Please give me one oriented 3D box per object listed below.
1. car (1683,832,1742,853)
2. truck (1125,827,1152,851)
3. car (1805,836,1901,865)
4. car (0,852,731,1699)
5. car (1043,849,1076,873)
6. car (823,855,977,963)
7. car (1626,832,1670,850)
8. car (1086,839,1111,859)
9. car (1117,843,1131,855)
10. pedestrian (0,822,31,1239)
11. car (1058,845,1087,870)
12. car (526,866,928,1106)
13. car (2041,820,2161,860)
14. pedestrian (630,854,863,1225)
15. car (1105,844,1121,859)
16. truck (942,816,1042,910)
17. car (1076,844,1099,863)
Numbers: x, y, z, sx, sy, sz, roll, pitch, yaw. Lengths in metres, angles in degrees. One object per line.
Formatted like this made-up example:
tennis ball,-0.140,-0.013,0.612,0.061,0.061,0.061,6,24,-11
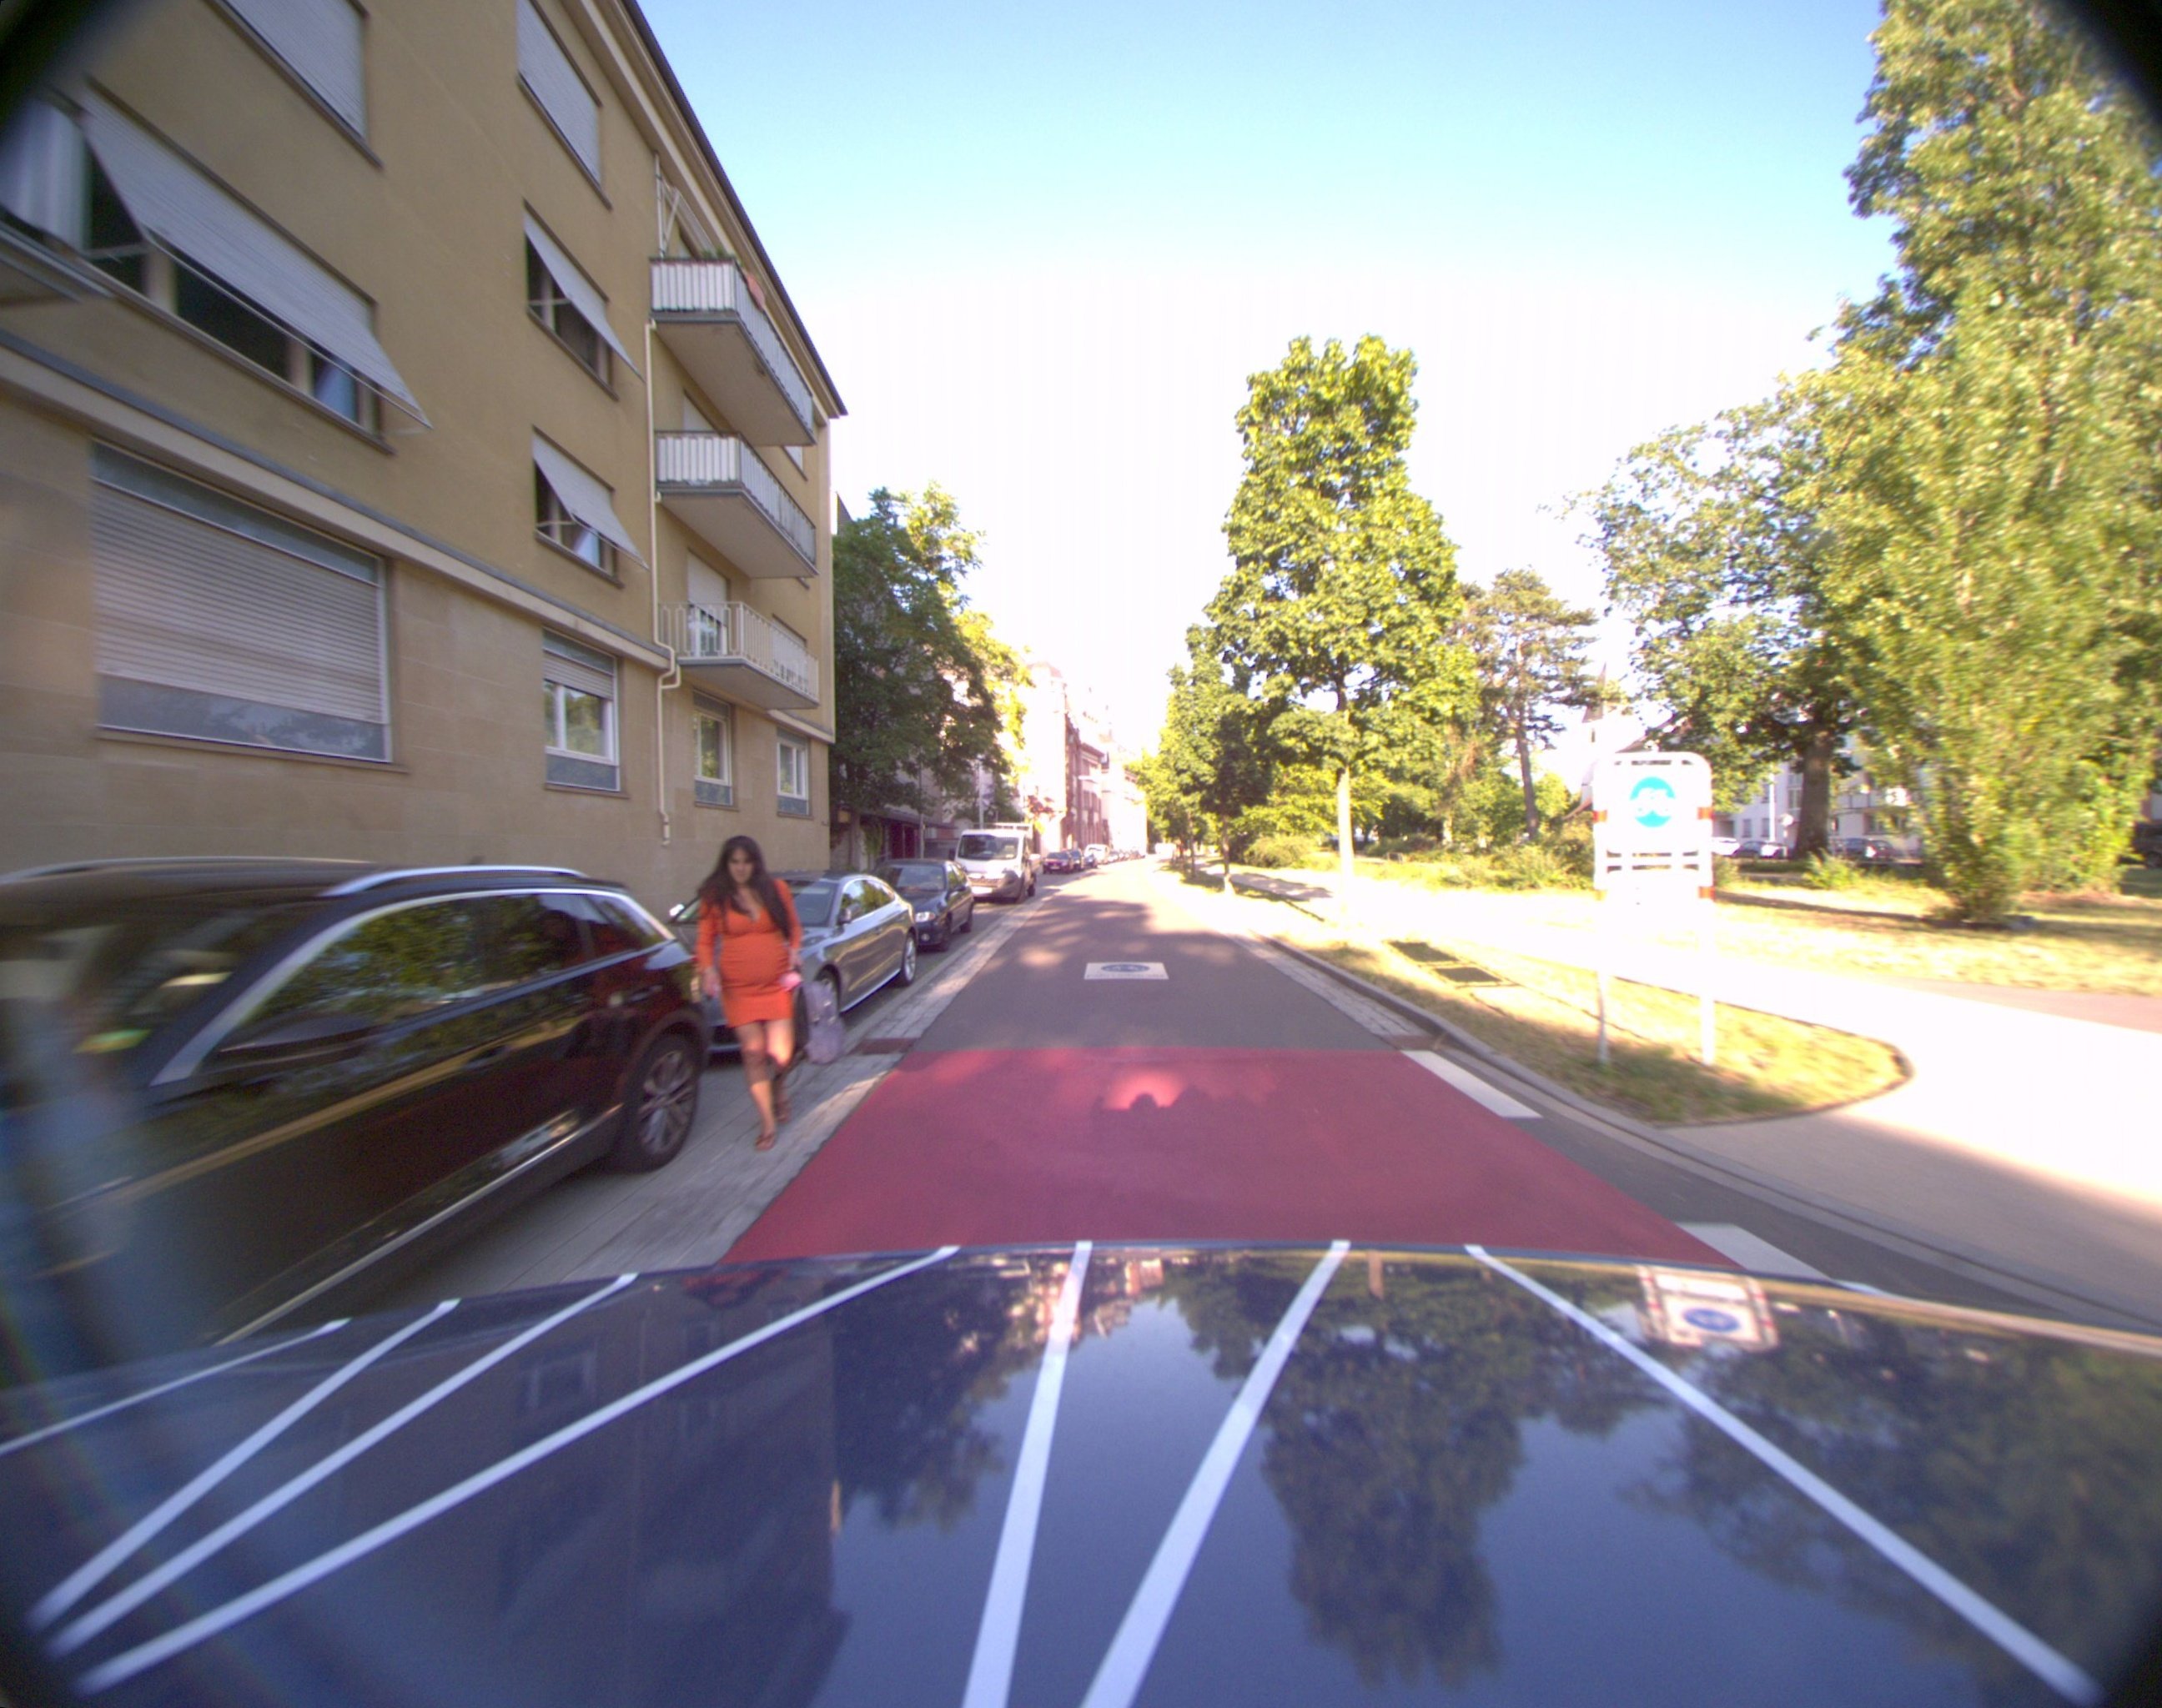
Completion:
car,51.092,-0.940,61.564,1.887,1.565,4.602,0,3,15
truck,8.529,-2.197,112.318,3.018,3.423,7.628,0,2,11
car,47.946,-0.238,47.346,1.888,1.565,4.600,0,3,10
car,-2.955,0.822,2.394,1.707,1.616,4.348,1,0,-1
car,-1.310,0.420,47.688,1.610,1.349,3.548,0,2,5
car,-2.895,0.803,12.988,1.707,1.412,4.034,1,2,-1
car,53.464,-1.249,71.740,1.887,1.565,4.603,0,3,17
car,1.791,-0.542,75.907,2.118,1.942,4.762,0,2,7
car,5.452,-0.656,95.849,1.582,1.499,3.848,0,2,7
pedestrian,-5.005,0.775,3.041,0.733,1.820,0.555,-3,2,-36
car,-0.586,0.209,53.164,1.610,1.609,3.951,0,2,5
car,-2.856,0.936,7.338,1.707,1.412,4.348,1,2,2
car,44.976,-0.643,32.585,1.889,1.565,4.598,-1,3,3
pedestrian,-1.744,0.900,4.138,0.778,1.759,0.955,-2,1,-1
car,3.579,-0.296,85.009,1.582,1.499,3.847,0,2,6
truck,-2.609,0.170,24.245,2.133,2.550,6.875,-1,2,2
car,0.549,-0.056,62.638,1.509,1.438,3.730,0,2,5
